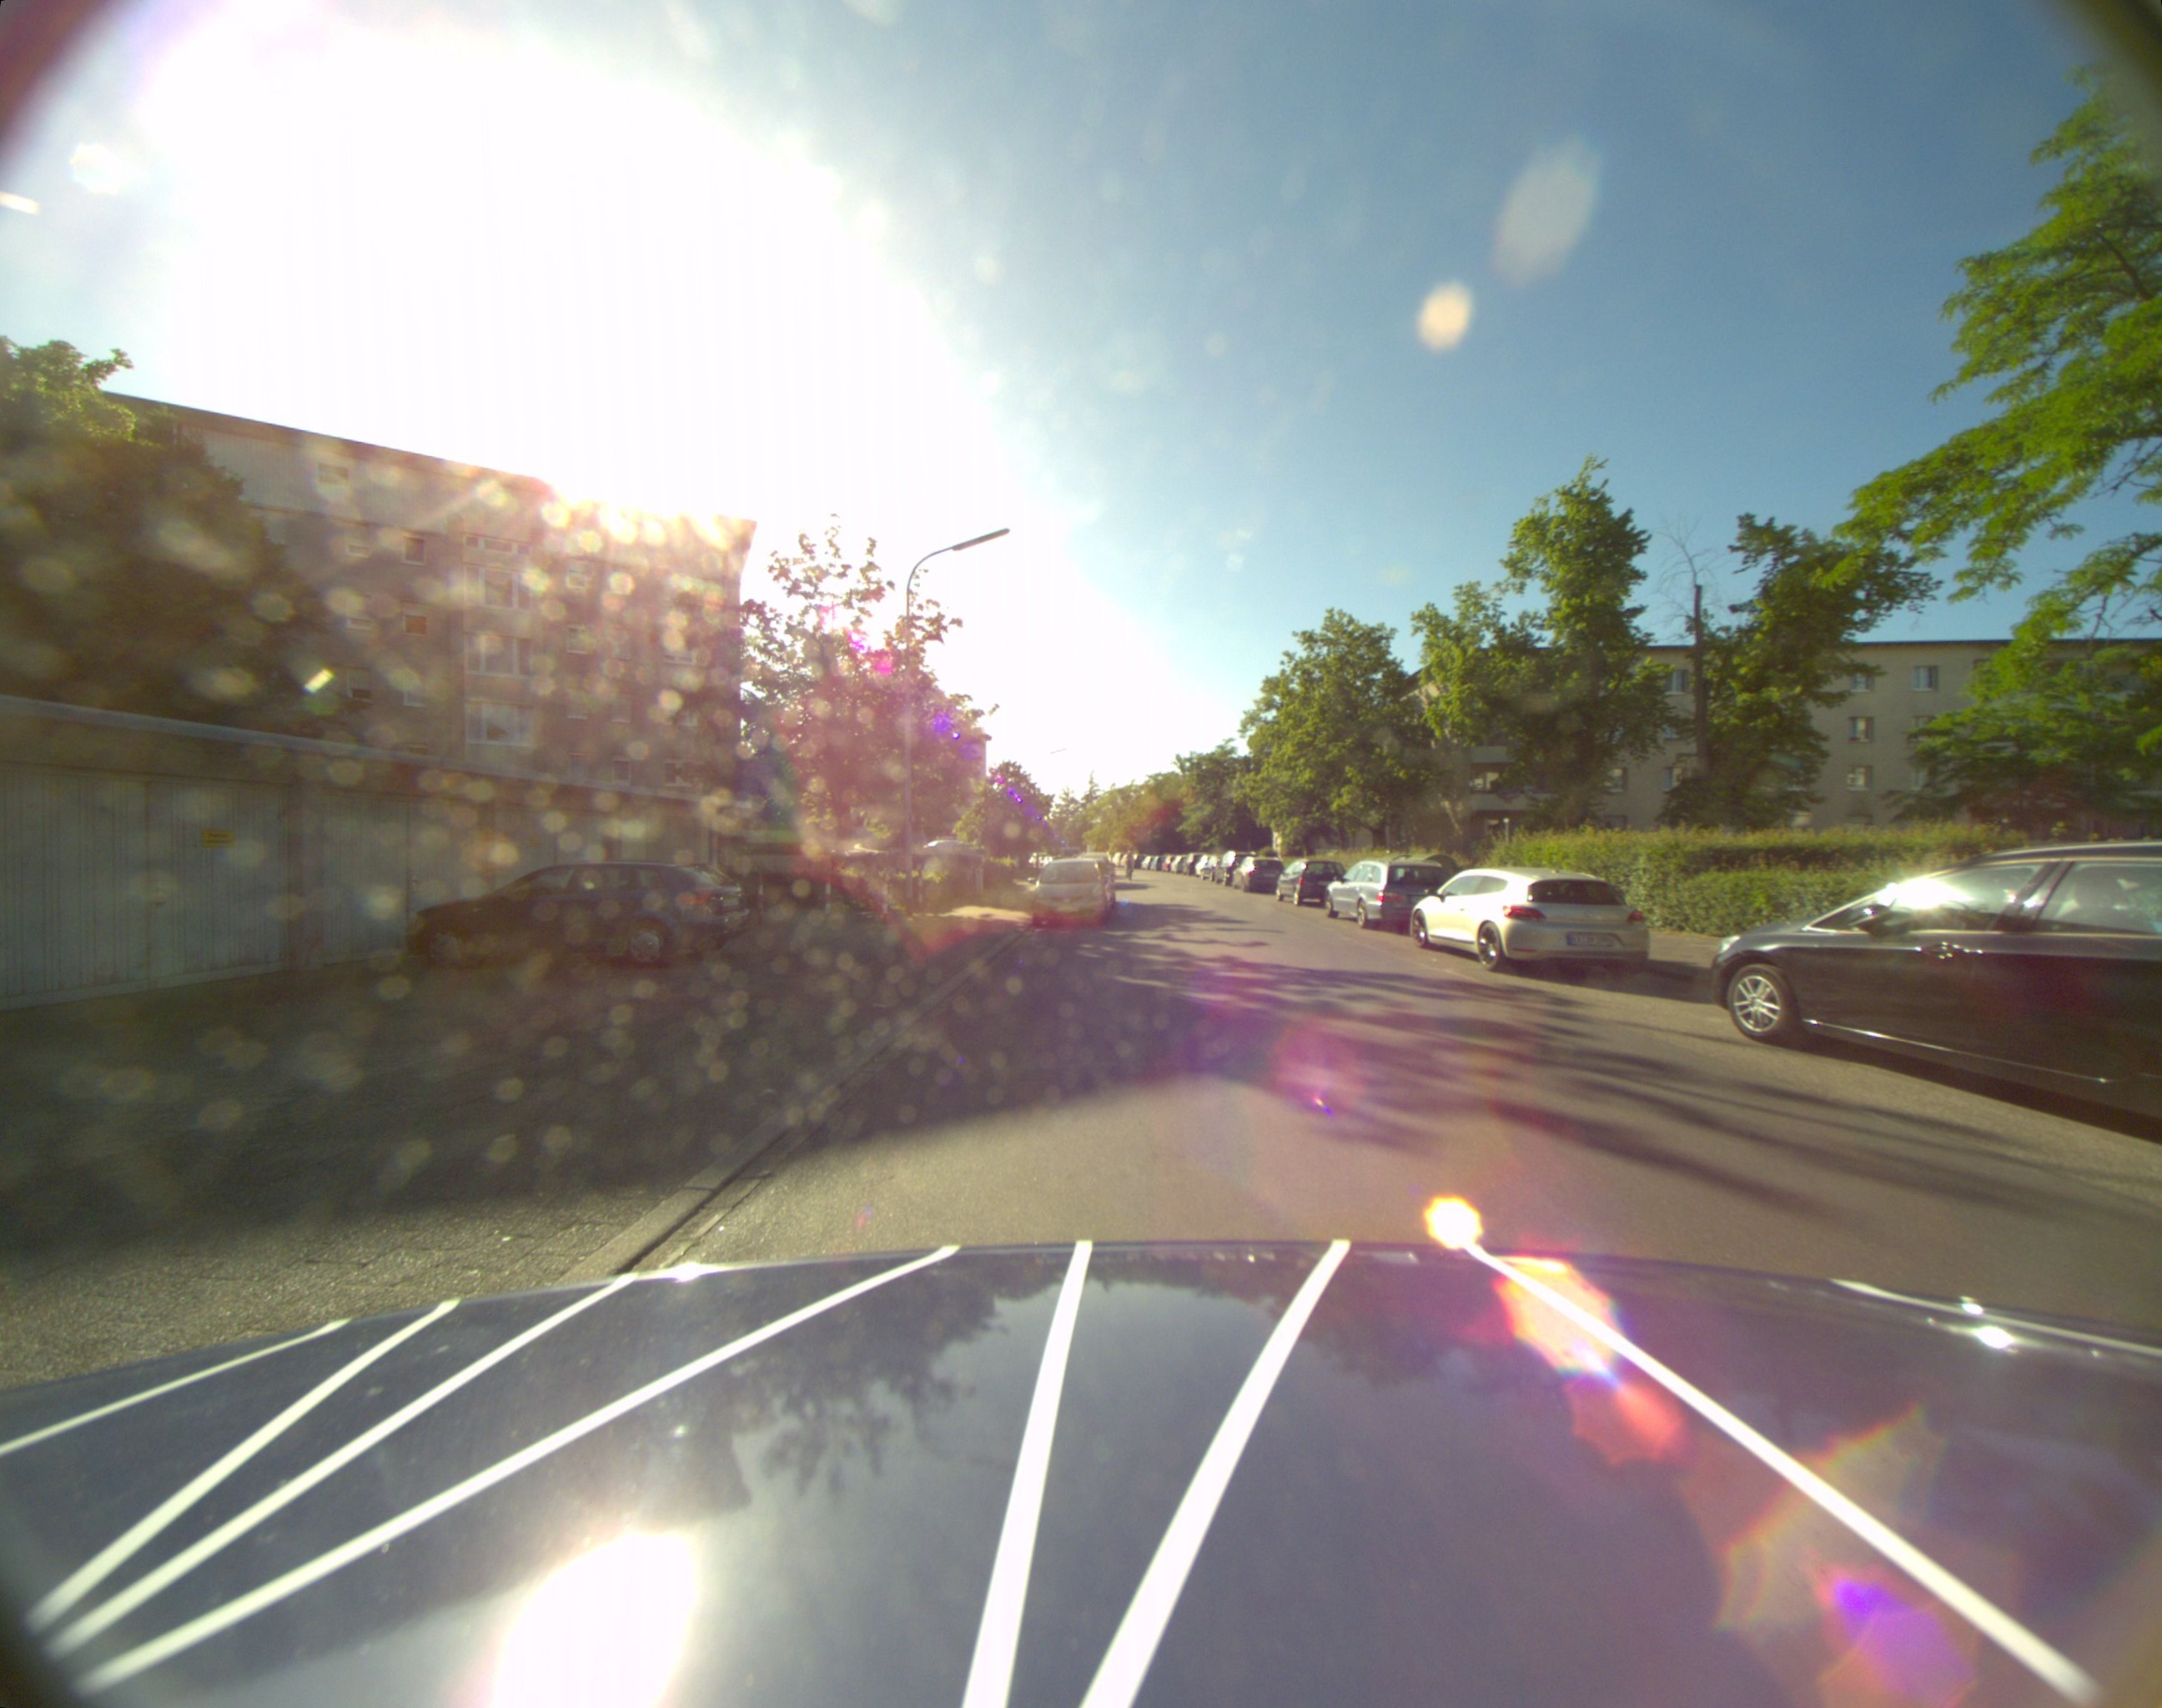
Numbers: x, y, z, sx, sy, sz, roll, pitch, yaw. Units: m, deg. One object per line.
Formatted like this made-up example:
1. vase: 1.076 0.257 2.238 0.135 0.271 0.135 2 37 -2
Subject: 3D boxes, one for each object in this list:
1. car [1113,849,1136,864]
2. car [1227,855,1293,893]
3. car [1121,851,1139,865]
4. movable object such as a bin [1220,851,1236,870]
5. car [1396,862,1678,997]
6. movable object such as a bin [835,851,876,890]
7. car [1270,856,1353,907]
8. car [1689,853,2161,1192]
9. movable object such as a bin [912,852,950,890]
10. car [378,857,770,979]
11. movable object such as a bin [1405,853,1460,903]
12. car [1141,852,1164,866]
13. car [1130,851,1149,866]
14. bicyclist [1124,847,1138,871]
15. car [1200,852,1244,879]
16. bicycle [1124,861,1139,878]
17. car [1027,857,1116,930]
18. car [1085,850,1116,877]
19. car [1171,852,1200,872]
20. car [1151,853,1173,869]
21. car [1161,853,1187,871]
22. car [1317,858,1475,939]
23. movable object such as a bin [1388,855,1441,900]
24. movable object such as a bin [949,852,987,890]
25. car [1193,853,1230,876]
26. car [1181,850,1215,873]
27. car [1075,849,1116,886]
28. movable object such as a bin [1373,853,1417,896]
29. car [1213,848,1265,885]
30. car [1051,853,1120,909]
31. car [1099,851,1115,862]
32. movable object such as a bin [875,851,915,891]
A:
1. car: 5.604 0.336 98.363 1.885 1.857 5.435 1 0 -8
2. car: 7.462 0.789 32.075 1.758 1.377 4.674 1 1 2
3. car: 5.961 0.478 92.494 1.658 1.621 3.688 1 0 -6
4. movable object such as a bin: 11.619 0.498 60.177 0.897 1.407 1.264 -3 1 -2
5. car: 6.222 0.902 11.036 1.758 1.417 4.211 2 1 4
6. movable object such as a bin: -8.763 0.625 29.572 1.325 1.472 1.029 -1 1 -3
7. car: 7.273 0.827 24.291 1.652 1.455 3.496 1 0 2
8. car: 6.161 0.843 4.449 1.758 1.626 4.371 2 1 2
9. movable object such as a bin: -5.868 0.656 29.806 1.328 1.423 1.029 -1 1 -3
10. car: -6.809 0.821 10.566 4.193 1.486 1.818 -1 0 0
11. movable object such as a bin: 10.647 0.717 23.060 1.004 1.407 1.326 -3 1 1
12. car: 7.443 0.496 79.249 1.658 1.470 3.733 1 0 -5
13. car: 6.642 0.492 86.514 1.658 1.621 4.070 1 0 -4
14. bicyclist: 2.872 0.302 43.651 0.812 1.348 1.091 -1 1 4
15. car: 7.897 0.607 42.911 1.642 1.377 4.170 1 0 -1
16. bicycle: 2.863 0.889 43.497 0.823 0.896 2.203 -1 0 4
17. car: -0.115 0.850 18.048 1.808 1.486 3.796 -1 0 4
18. car: 1.229 0.582 49.418 1.759 1.664 4.412 -1 0 -1
19. car: 8.468 0.621 61.849 1.811 1.470 3.940 1 0 0
20. car: 7.874 0.654 73.966 1.658 1.470 3.105 1 0 -2
21. car: 8.146 0.654 66.965 1.635 1.470 3.878 1 0 -2
22. car: 6.779 0.862 16.989 1.758 1.481 4.902 3 0 4
23. movable object such as a bin: 10.815 0.742 24.656 1.122 1.358 1.257 -3 1 1
24. movable object such as a bin: -4.426 0.655 29.790 1.328 1.419 1.070 2 0 -3
25. car: 8.395 0.650 49.081 1.758 1.428 4.151 1 0 1
26. car: 8.400 0.504 54.969 1.811 1.596 4.432 1 0 0
27. car: 0.771 0.604 36.409 1.758 1.617 4.496 -1 0 4
28. movable object such as a bin: 10.807 0.693 26.185 0.897 1.407 1.326 -3 1 1
29. car: 7.786 0.578 37.755 1.758 1.659 4.390 1 0 2
30. car: 0.238 0.744 23.472 1.835 1.537 4.641 -1 0 4
31. car: 3.750 0.403 110.433 1.659 1.558 3.687 1 0 -9
32. movable object such as a bin: -7.254 0.665 29.726 1.328 1.528 1.029 -1 1 -3
